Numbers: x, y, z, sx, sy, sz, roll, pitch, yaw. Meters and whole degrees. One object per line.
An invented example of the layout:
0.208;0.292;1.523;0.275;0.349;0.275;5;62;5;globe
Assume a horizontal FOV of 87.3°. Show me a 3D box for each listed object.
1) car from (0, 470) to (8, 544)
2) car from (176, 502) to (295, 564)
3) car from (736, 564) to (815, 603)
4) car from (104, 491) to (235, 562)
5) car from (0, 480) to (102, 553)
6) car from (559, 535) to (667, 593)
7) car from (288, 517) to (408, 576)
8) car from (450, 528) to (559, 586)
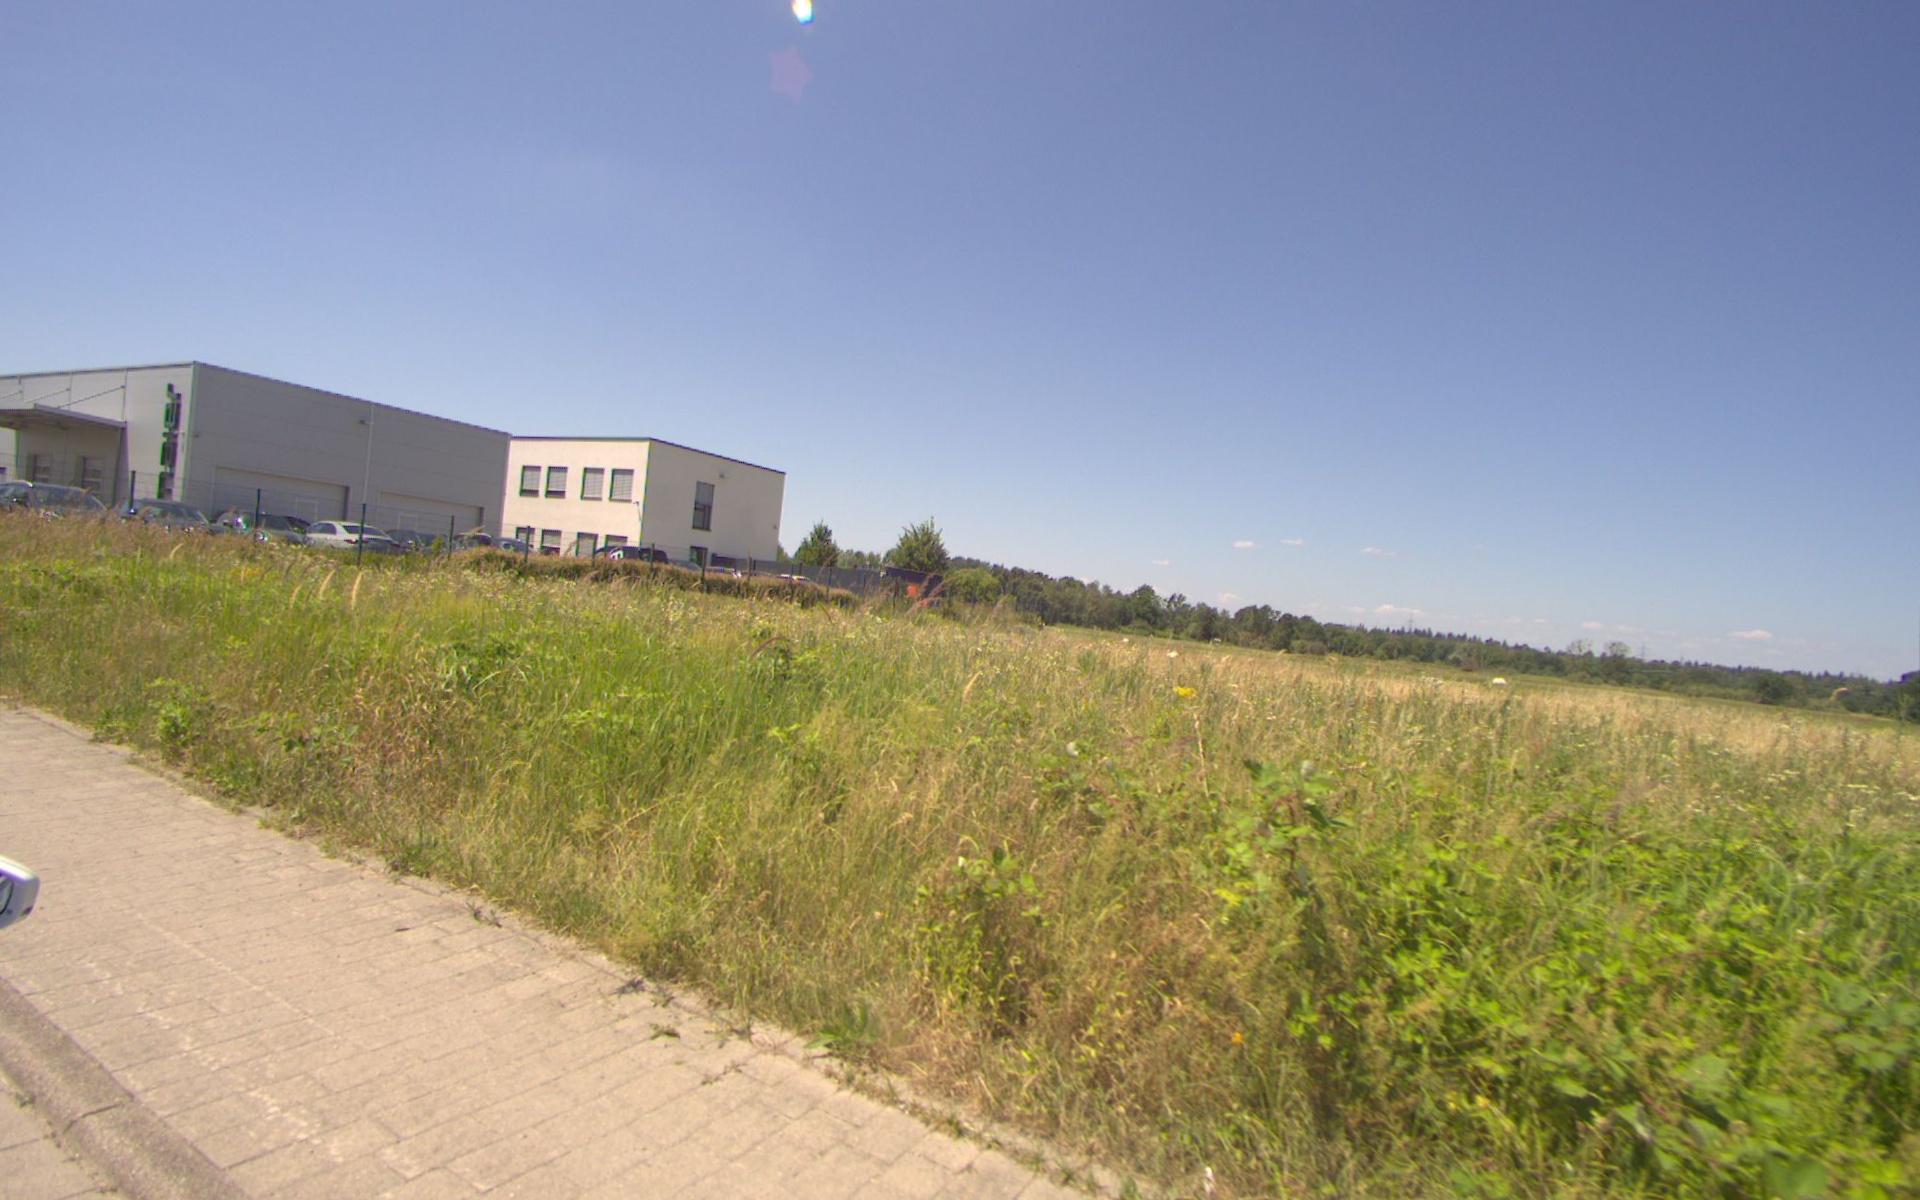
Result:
-22.250;-2.159;21.948;2.618;1.594;1.467;6;1;32;car
-20.437;-1.892;28.354;3.276;1.431;1.458;6;1;31;car
-9.069;-0.792;49.358;3.587;1.546;1.527;6;1;31;car
-20.518;-1.903;26.093;3.276;1.515;1.516;6;1;31;car
-22.445;-2.050;24.339;3.276;1.515;1.516;6;1;31;car
-13.813;-1.434;39.974;4.057;1.870;1.750;6;1;31;car
-18.169;-1.596;29.851;3.481;1.415;1.516;6;1;31;car
-15.901;-1.514;35.097;3.721;1.655;1.515;6;1;31;car
